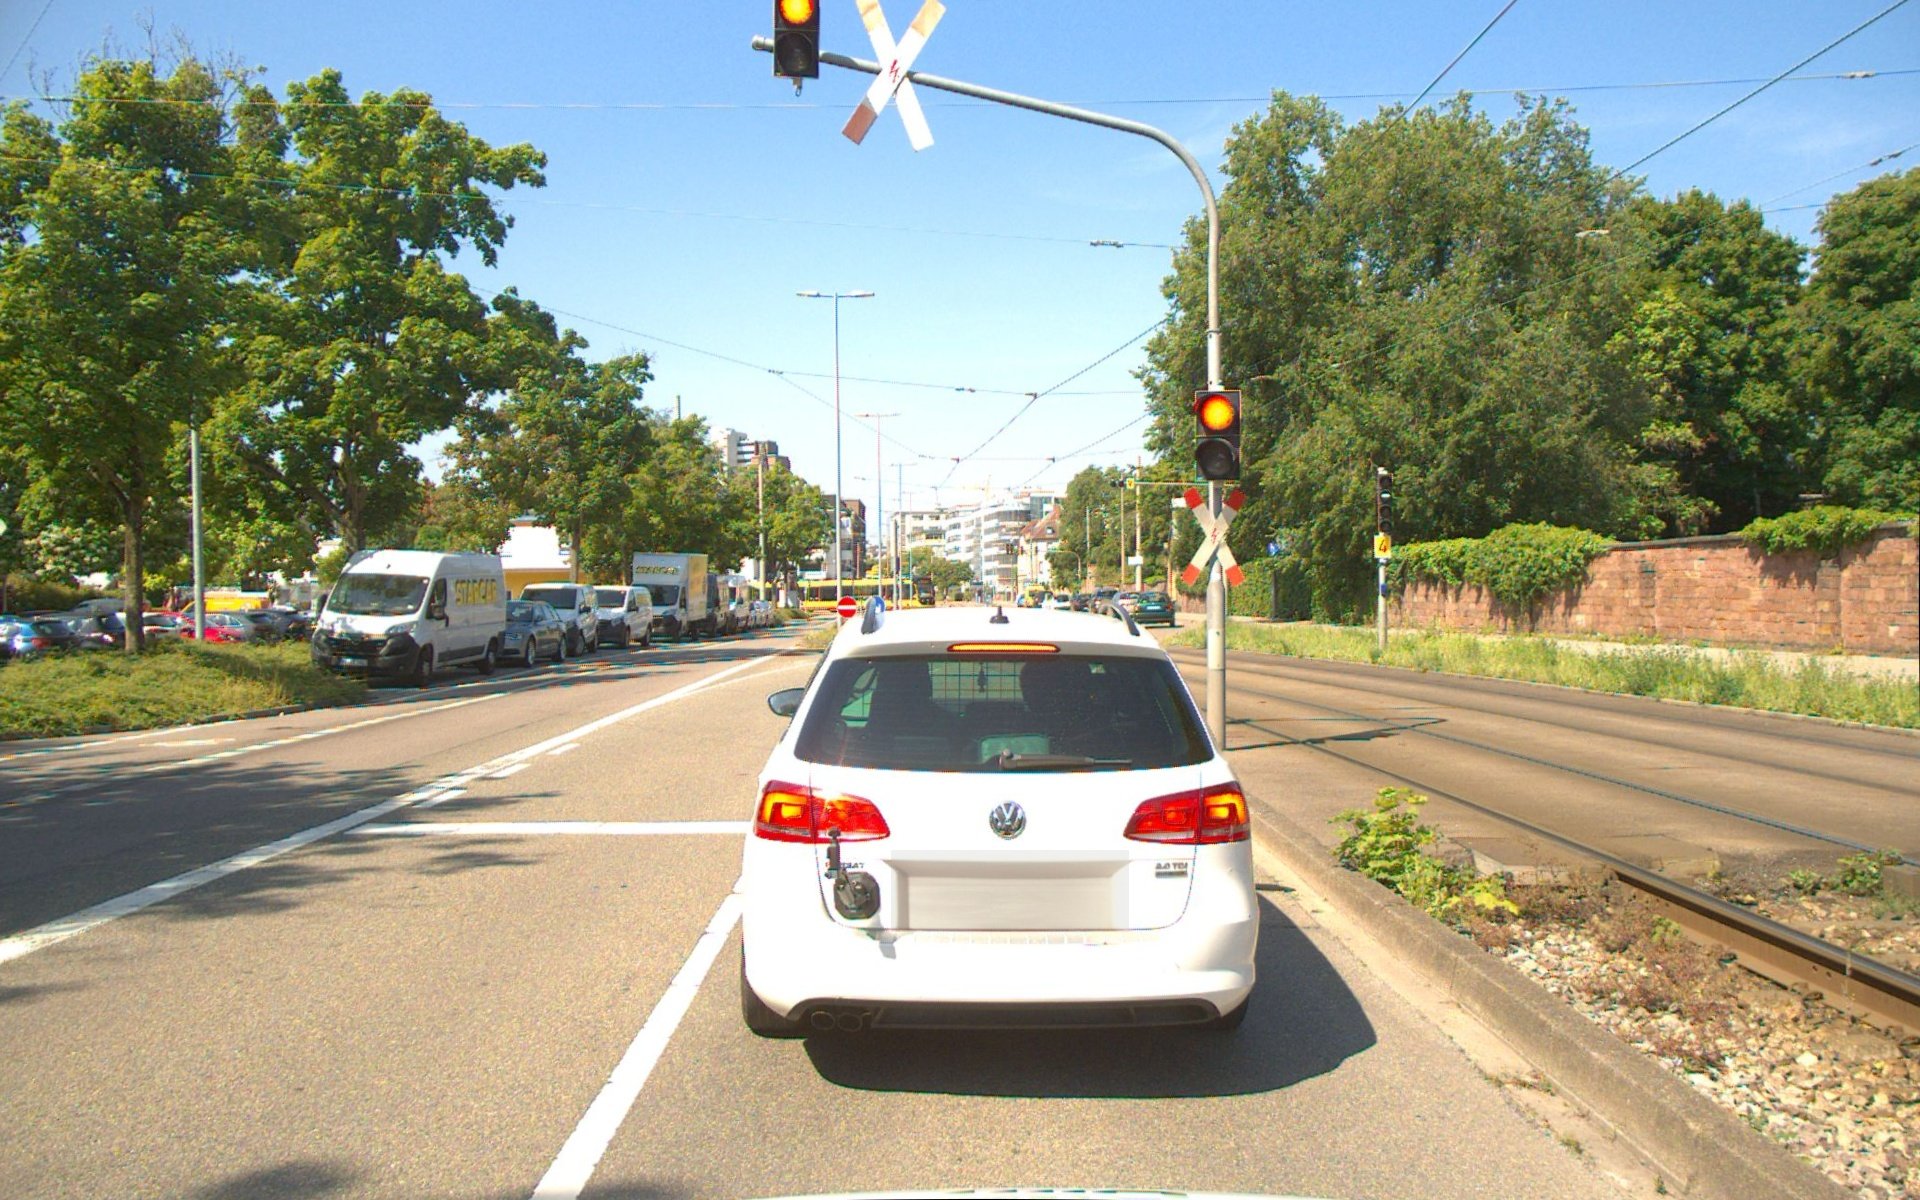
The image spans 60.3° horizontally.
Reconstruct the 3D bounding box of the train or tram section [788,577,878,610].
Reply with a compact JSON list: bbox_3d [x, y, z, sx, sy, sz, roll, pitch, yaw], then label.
[{"bbox_3d":[-13.537,-0.712,175.077,10.595,3.309,2.299,1,-1,37],"label":"train or tram section"}]

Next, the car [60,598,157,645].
[{"bbox_3d":[-36.921,0.930,71.787,3.354,1.909,1.552,-1,0,-3],"label":"car"}]

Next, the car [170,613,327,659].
[{"bbox_3d":[-21.327,1.060,49.664,3.904,1.246,1.772,-1,0,2],"label":"car"}]

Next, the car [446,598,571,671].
[{"bbox_3d":[-10.526,0.767,38.833,1.806,1.543,4.196,-1,0,-1],"label":"car"}]

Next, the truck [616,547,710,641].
[{"bbox_3d":[-10.768,-0.215,60.446,2.309,3.177,6.889,-1,0,-2],"label":"truck"}]

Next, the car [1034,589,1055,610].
[{"bbox_3d":[7.639,-0.067,149.484,1.657,1.844,3.453,1,0,-1],"label":"car"}]

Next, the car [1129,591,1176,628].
[{"bbox_3d":[7.630,0.364,65.433,1.708,1.412,3.916,1,0,8],"label":"car"}]

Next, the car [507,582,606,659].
[{"bbox_3d":[-11.049,0.517,45.594,1.807,1.971,5.189,-1,0,-5],"label":"car"}]

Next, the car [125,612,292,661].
[{"bbox_3d":[-21.306,1.033,46.997,3.904,1.246,1.772,-1,0,2],"label":"car"}]

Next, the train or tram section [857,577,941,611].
[{"bbox_3d":[-6.263,-0.624,167.694,2.286,3.309,11.116,2,-1,-39],"label":"train or tram section"}]

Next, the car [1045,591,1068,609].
[{"bbox_3d":[7.526,0.002,128.951,1.549,1.370,3.453,1,0,-1],"label":"car"}]

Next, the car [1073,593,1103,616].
[{"bbox_3d":[8.361,0.271,108.292,1.710,1.432,3.913,1,0,0],"label":"car"}]

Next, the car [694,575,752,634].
[{"bbox_3d":[-10.837,0.185,76.042,1.806,2.538,5.856,-1,0,0],"label":"car"}]

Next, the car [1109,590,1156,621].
[{"bbox_3d":[8.600,0.259,82.821,1.823,1.441,4.324,1,0,-1],"label":"car"}]

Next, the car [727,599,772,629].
[{"bbox_3d":[-10.880,0.726,85.684,1.806,1.458,4.037,-1,0,-1],"label":"car"}]

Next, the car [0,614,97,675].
[{"bbox_3d":[-21.262,0.987,36.073,3.904,1.246,1.772,-1,0,2],"label":"car"}]

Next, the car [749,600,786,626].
[{"bbox_3d":[-11.259,0.733,96.820,1.744,1.458,4.037,-1,0,-1],"label":"car"}]

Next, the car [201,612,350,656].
[{"bbox_3d":[-21.426,1.066,51.882,3.904,1.246,1.772,-1,0,2],"label":"car"}]

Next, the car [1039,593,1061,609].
[{"bbox_3d":[7.648,0.090,140.444,1.549,1.370,3.453,1,0,-1],"label":"car"}]

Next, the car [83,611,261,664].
[{"bbox_3d":[-21.091,1.002,44.374,3.904,1.286,1.772,-1,0,2],"label":"car"}]

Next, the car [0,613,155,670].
[{"bbox_3d":[-21.517,0.980,39.252,3.904,1.246,1.772,-1,0,2],"label":"car"}]

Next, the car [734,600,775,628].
[{"bbox_3d":[-11.361,0.778,91.587,1.806,1.458,4.037,-1,0,-1],"label":"car"}]

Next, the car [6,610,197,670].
[{"bbox_3d":[-21.721,0.991,41.936,3.904,1.373,1.772,-1,0,2],"label":"car"}]

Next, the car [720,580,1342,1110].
[{"bbox_3d":[0.151,0.684,6.617,1.732,1.471,3.912,1,0,-2],"label":"car"}]

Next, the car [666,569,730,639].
[{"bbox_3d":[-10.760,0.144,68.178,1.806,2.715,5.003,-1,0,0],"label":"car"}]

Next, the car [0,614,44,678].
[{"bbox_3d":[-20.944,0.960,33.360,3.907,1.246,1.770,-1,0,-3],"label":"car"}]

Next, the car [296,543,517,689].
[{"bbox_3d":[-10.739,0.262,32.701,2.016,2.544,6.309,2,0,2],"label":"car"}]

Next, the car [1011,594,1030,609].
[{"bbox_3d":[6.588,0.163,180.746,1.953,1.624,3.999,1,0,0],"label":"car"}]

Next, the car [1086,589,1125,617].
[{"bbox_3d":[8.396,0.136,95.567,1.823,1.539,3.912,1,0,-1],"label":"car"}]

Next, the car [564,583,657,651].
[{"bbox_3d":[-10.955,0.496,52.153,1.806,1.995,5.133,-1,0,0],"label":"car"}]

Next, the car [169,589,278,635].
[{"bbox_3d":[-34.202,0.549,76.921,4.175,2.049,1.997,1,-1,-7],"label":"car"}]

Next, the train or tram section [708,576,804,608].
[{"bbox_3d":[-22.238,-0.844,180.338,10.764,3.309,2.307,1,-1,25],"label":"train or tram section"}]

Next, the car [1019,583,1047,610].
[{"bbox_3d":[7.287,-0.330,166.251,2.413,2.542,5.908,1,0,-1],"label":"car"}]
